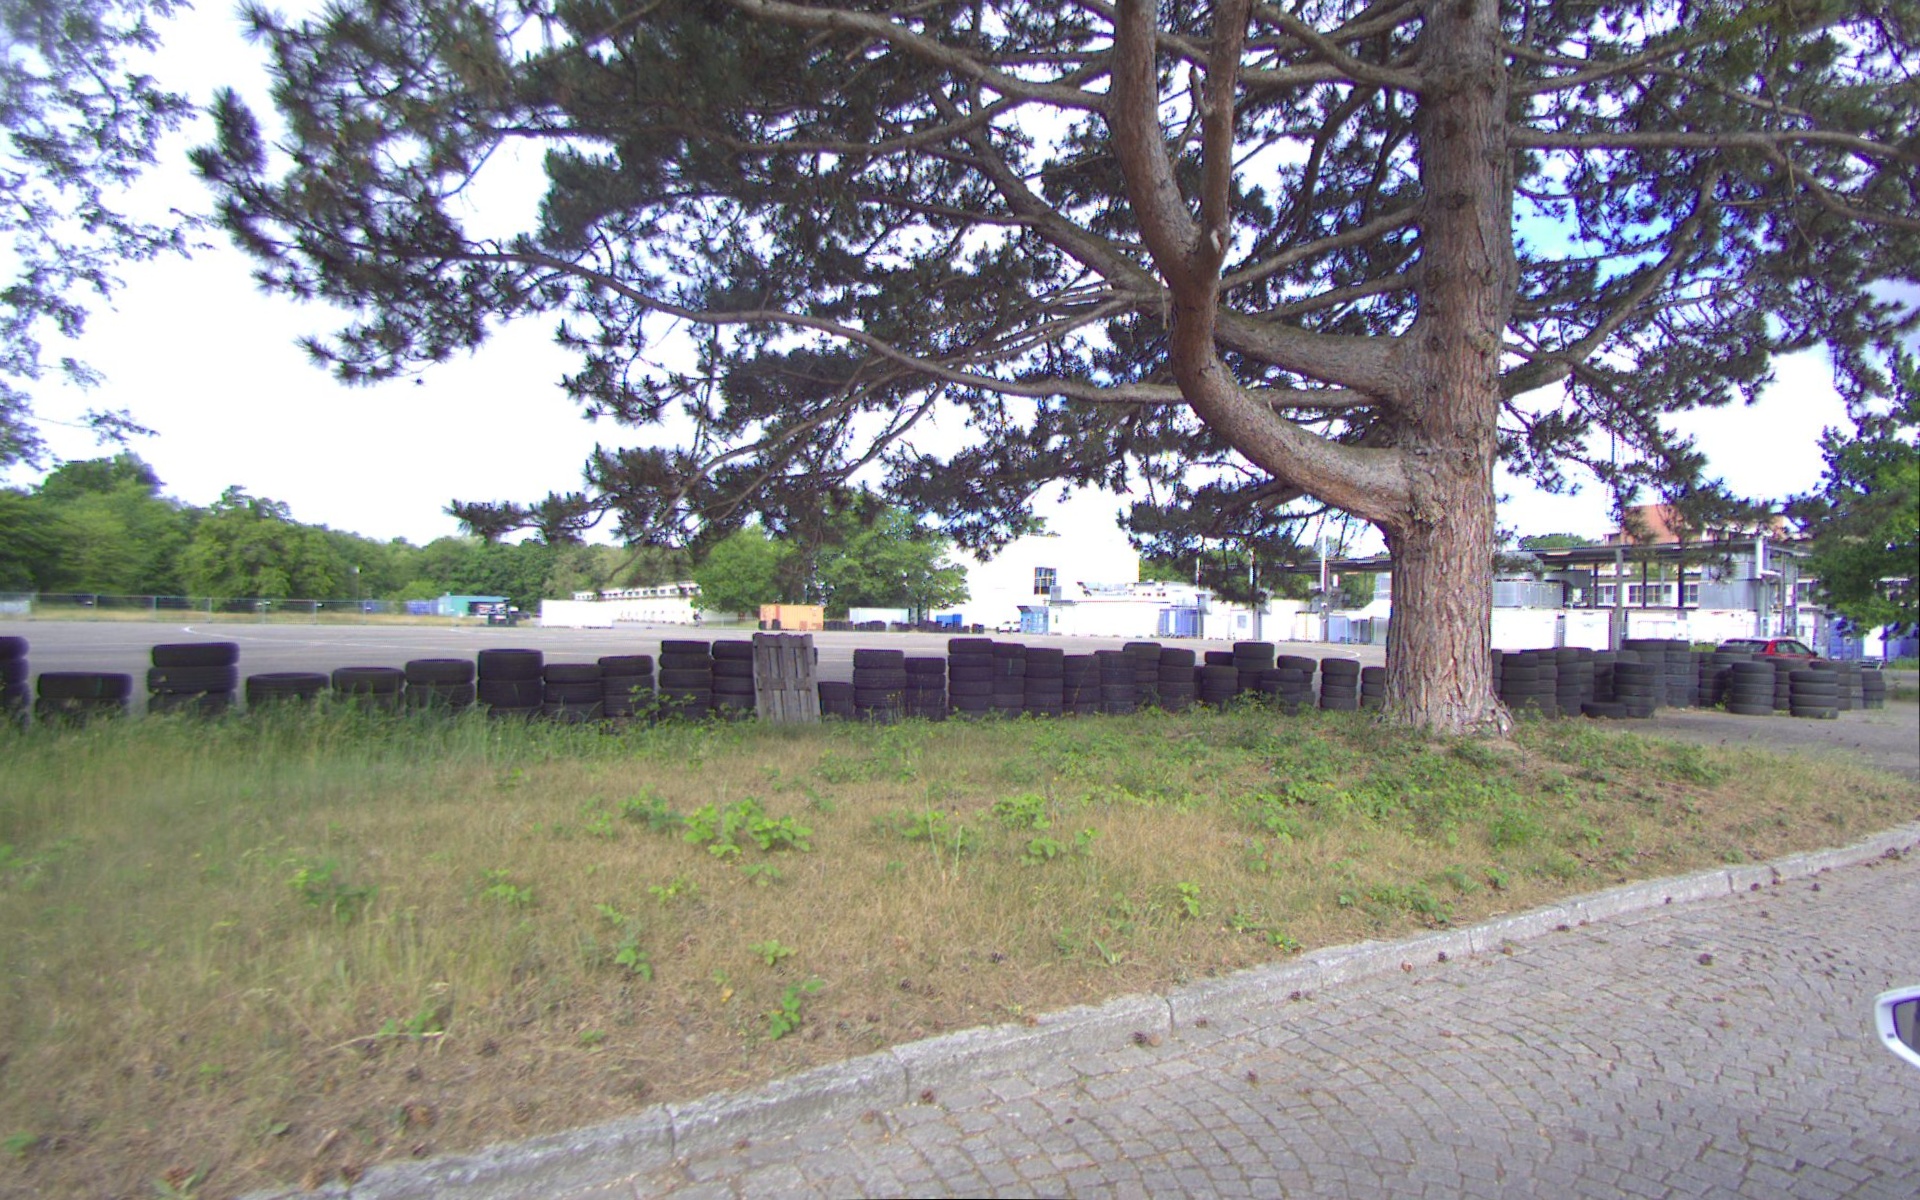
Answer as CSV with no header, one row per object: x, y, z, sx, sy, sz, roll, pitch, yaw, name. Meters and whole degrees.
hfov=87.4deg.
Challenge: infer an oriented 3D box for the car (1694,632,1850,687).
23.311,1.698,28.835,4.160,1.450,1.819,2,-1,-24,car
